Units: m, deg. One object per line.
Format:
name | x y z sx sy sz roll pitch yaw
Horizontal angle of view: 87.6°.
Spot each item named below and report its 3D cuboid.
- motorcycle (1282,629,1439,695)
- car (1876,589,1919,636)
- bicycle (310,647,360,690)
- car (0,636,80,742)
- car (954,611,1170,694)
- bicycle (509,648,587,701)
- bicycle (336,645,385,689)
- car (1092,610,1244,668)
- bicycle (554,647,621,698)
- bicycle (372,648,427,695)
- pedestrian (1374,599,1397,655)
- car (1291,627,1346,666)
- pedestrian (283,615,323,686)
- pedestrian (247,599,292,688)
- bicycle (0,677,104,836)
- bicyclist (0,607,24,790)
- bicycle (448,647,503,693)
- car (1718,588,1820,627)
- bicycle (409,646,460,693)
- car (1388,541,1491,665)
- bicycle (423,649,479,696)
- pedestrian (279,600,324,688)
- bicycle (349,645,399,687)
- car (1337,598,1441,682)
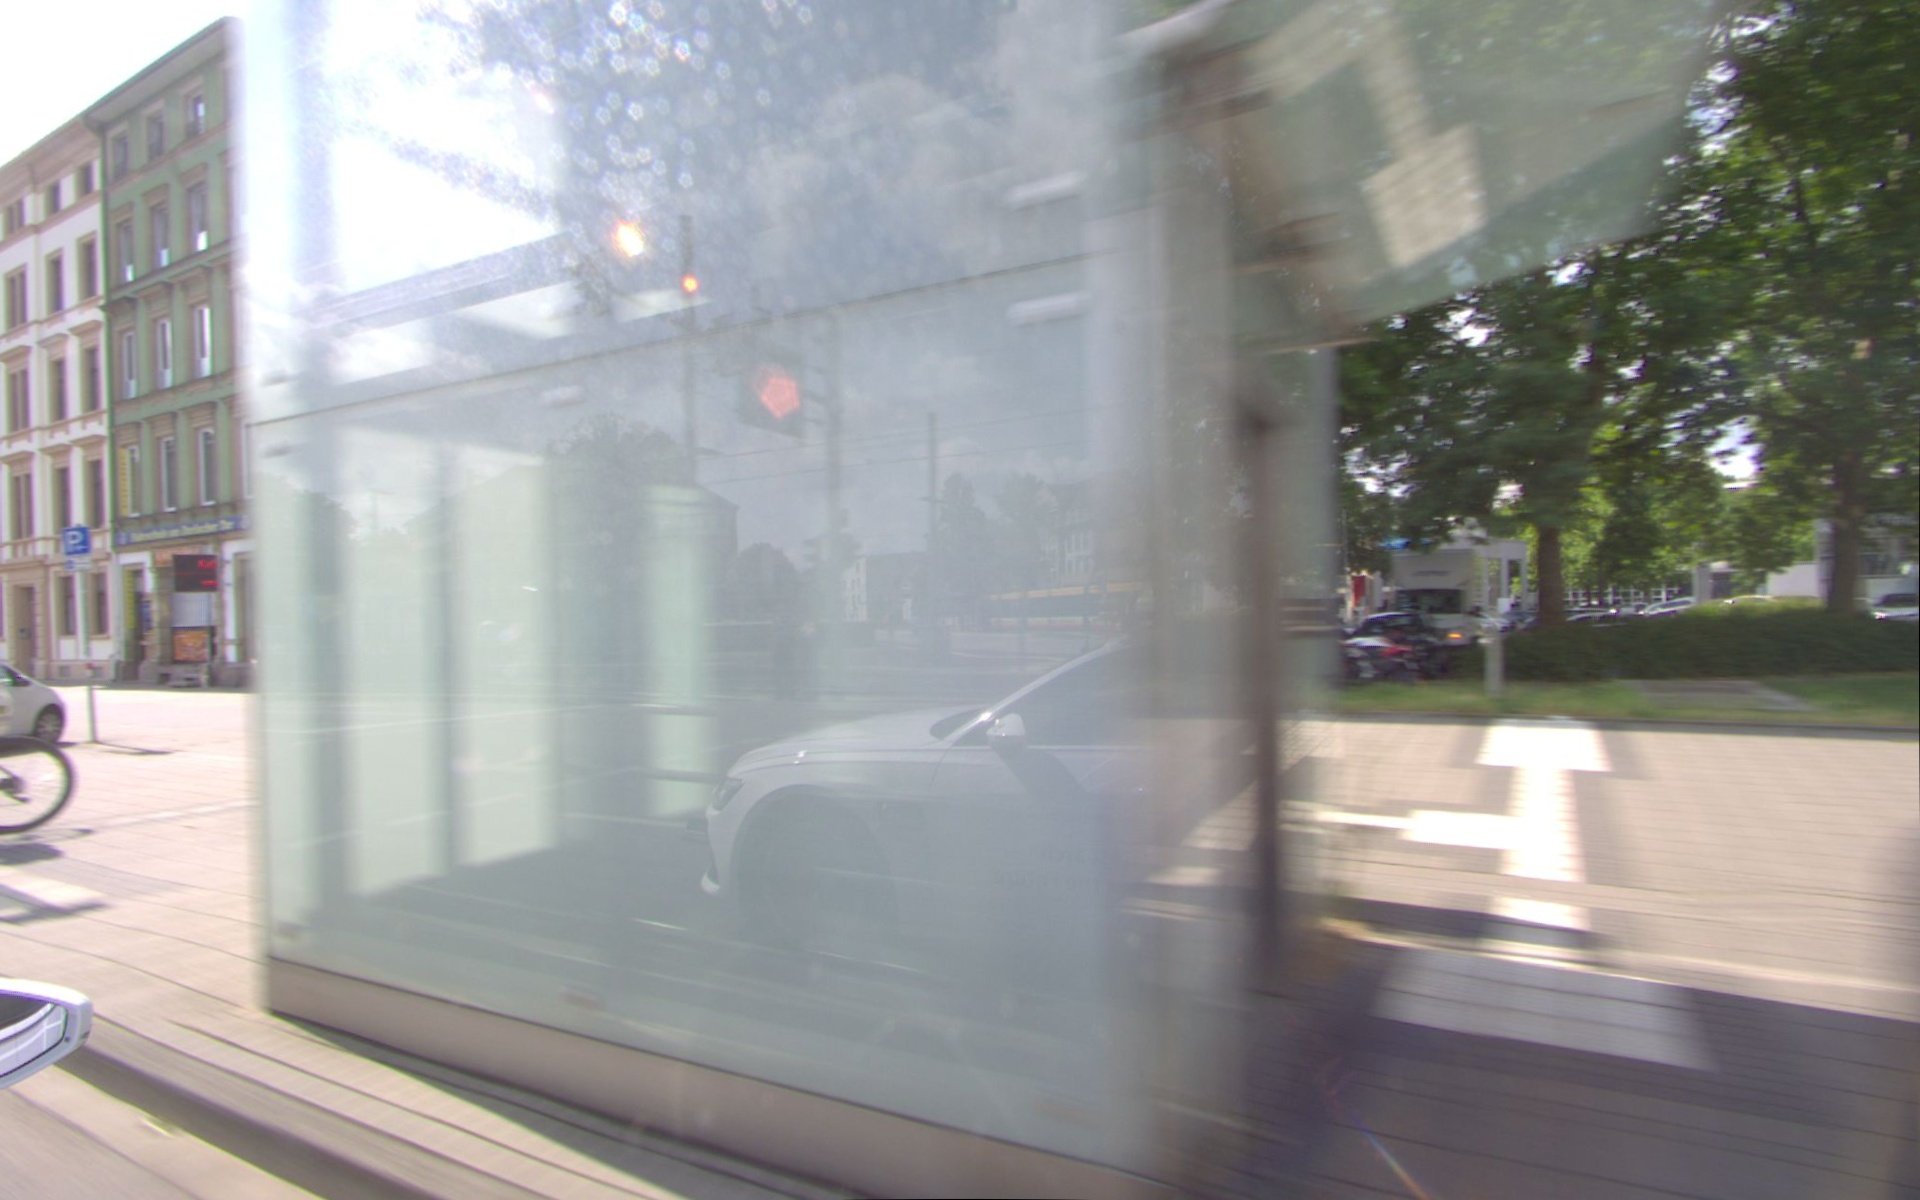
motorcycle | 6.697 1.025 16.809 2.251 1.043 0.975 -1 -2 -11
car | 43.322 0.593 45.631 1.975 2.041 3.971 2 1 38
bicycle | -14.180 1.548 22.721 1.442 0.935 0.292 -1 0 29
car | -14.202 1.251 13.640 1.745 1.472 3.496 -1 -2 -10
car | 2.064 1.040 20.522 4.034 1.534 1.801 -1 0 30
bicycle | -7.688 1.375 18.676 1.584 0.935 0.292 0 0 22
bicycle | -13.782 1.531 23.012 1.441 0.935 0.292 0 1 29
car | 6.132 1.105 29.555 4.033 1.534 1.801 1 0 30
bicycle | -7.130 1.374 19.148 1.429 0.934 0.292 -1 0 26
bicycle | -11.945 1.505 21.328 1.441 0.935 0.292 0 1 29
pedestrian | 14.080 0.883 33.156 0.622 1.823 0.739 1 1 27
car | 15.866 2.012 44.205 1.637 1.572 3.982 -1 -1 30
pedestrian | -15.748 1.195 24.001 0.453 1.642 0.600 1 4 31
pedestrian | -16.448 1.024 23.861 0.453 2.043 0.600 1 6 31
bicycle | -7.672 1.175 7.333 2.072 1.121 0.541 1 1 -33
bicyclist | -7.505 0.726 7.404 0.773 1.354 0.393 0 1 -30
bicycle | -10.110 1.450 20.885 1.443 0.934 0.292 -1 0 32
car | 43.915 0.401 54.420 1.976 2.040 3.968 0 0 -38
bicycle | -11.440 1.497 21.785 1.443 0.935 0.292 1 1 32
car | 13.839 0.122 28.635 1.971 3.082 7.213 -1 -1 31
bicycle | -10.394 1.469 20.421 1.443 0.934 0.292 -1 0 32
pedestrian | -15.689 1.035 23.872 0.453 2.043 0.600 1 6 31
bicycle | -13.629 1.520 23.291 1.442 0.935 0.292 -1 0 29
car | 9.641 0.840 22.631 1.966 1.728 3.989 -1 0 23
